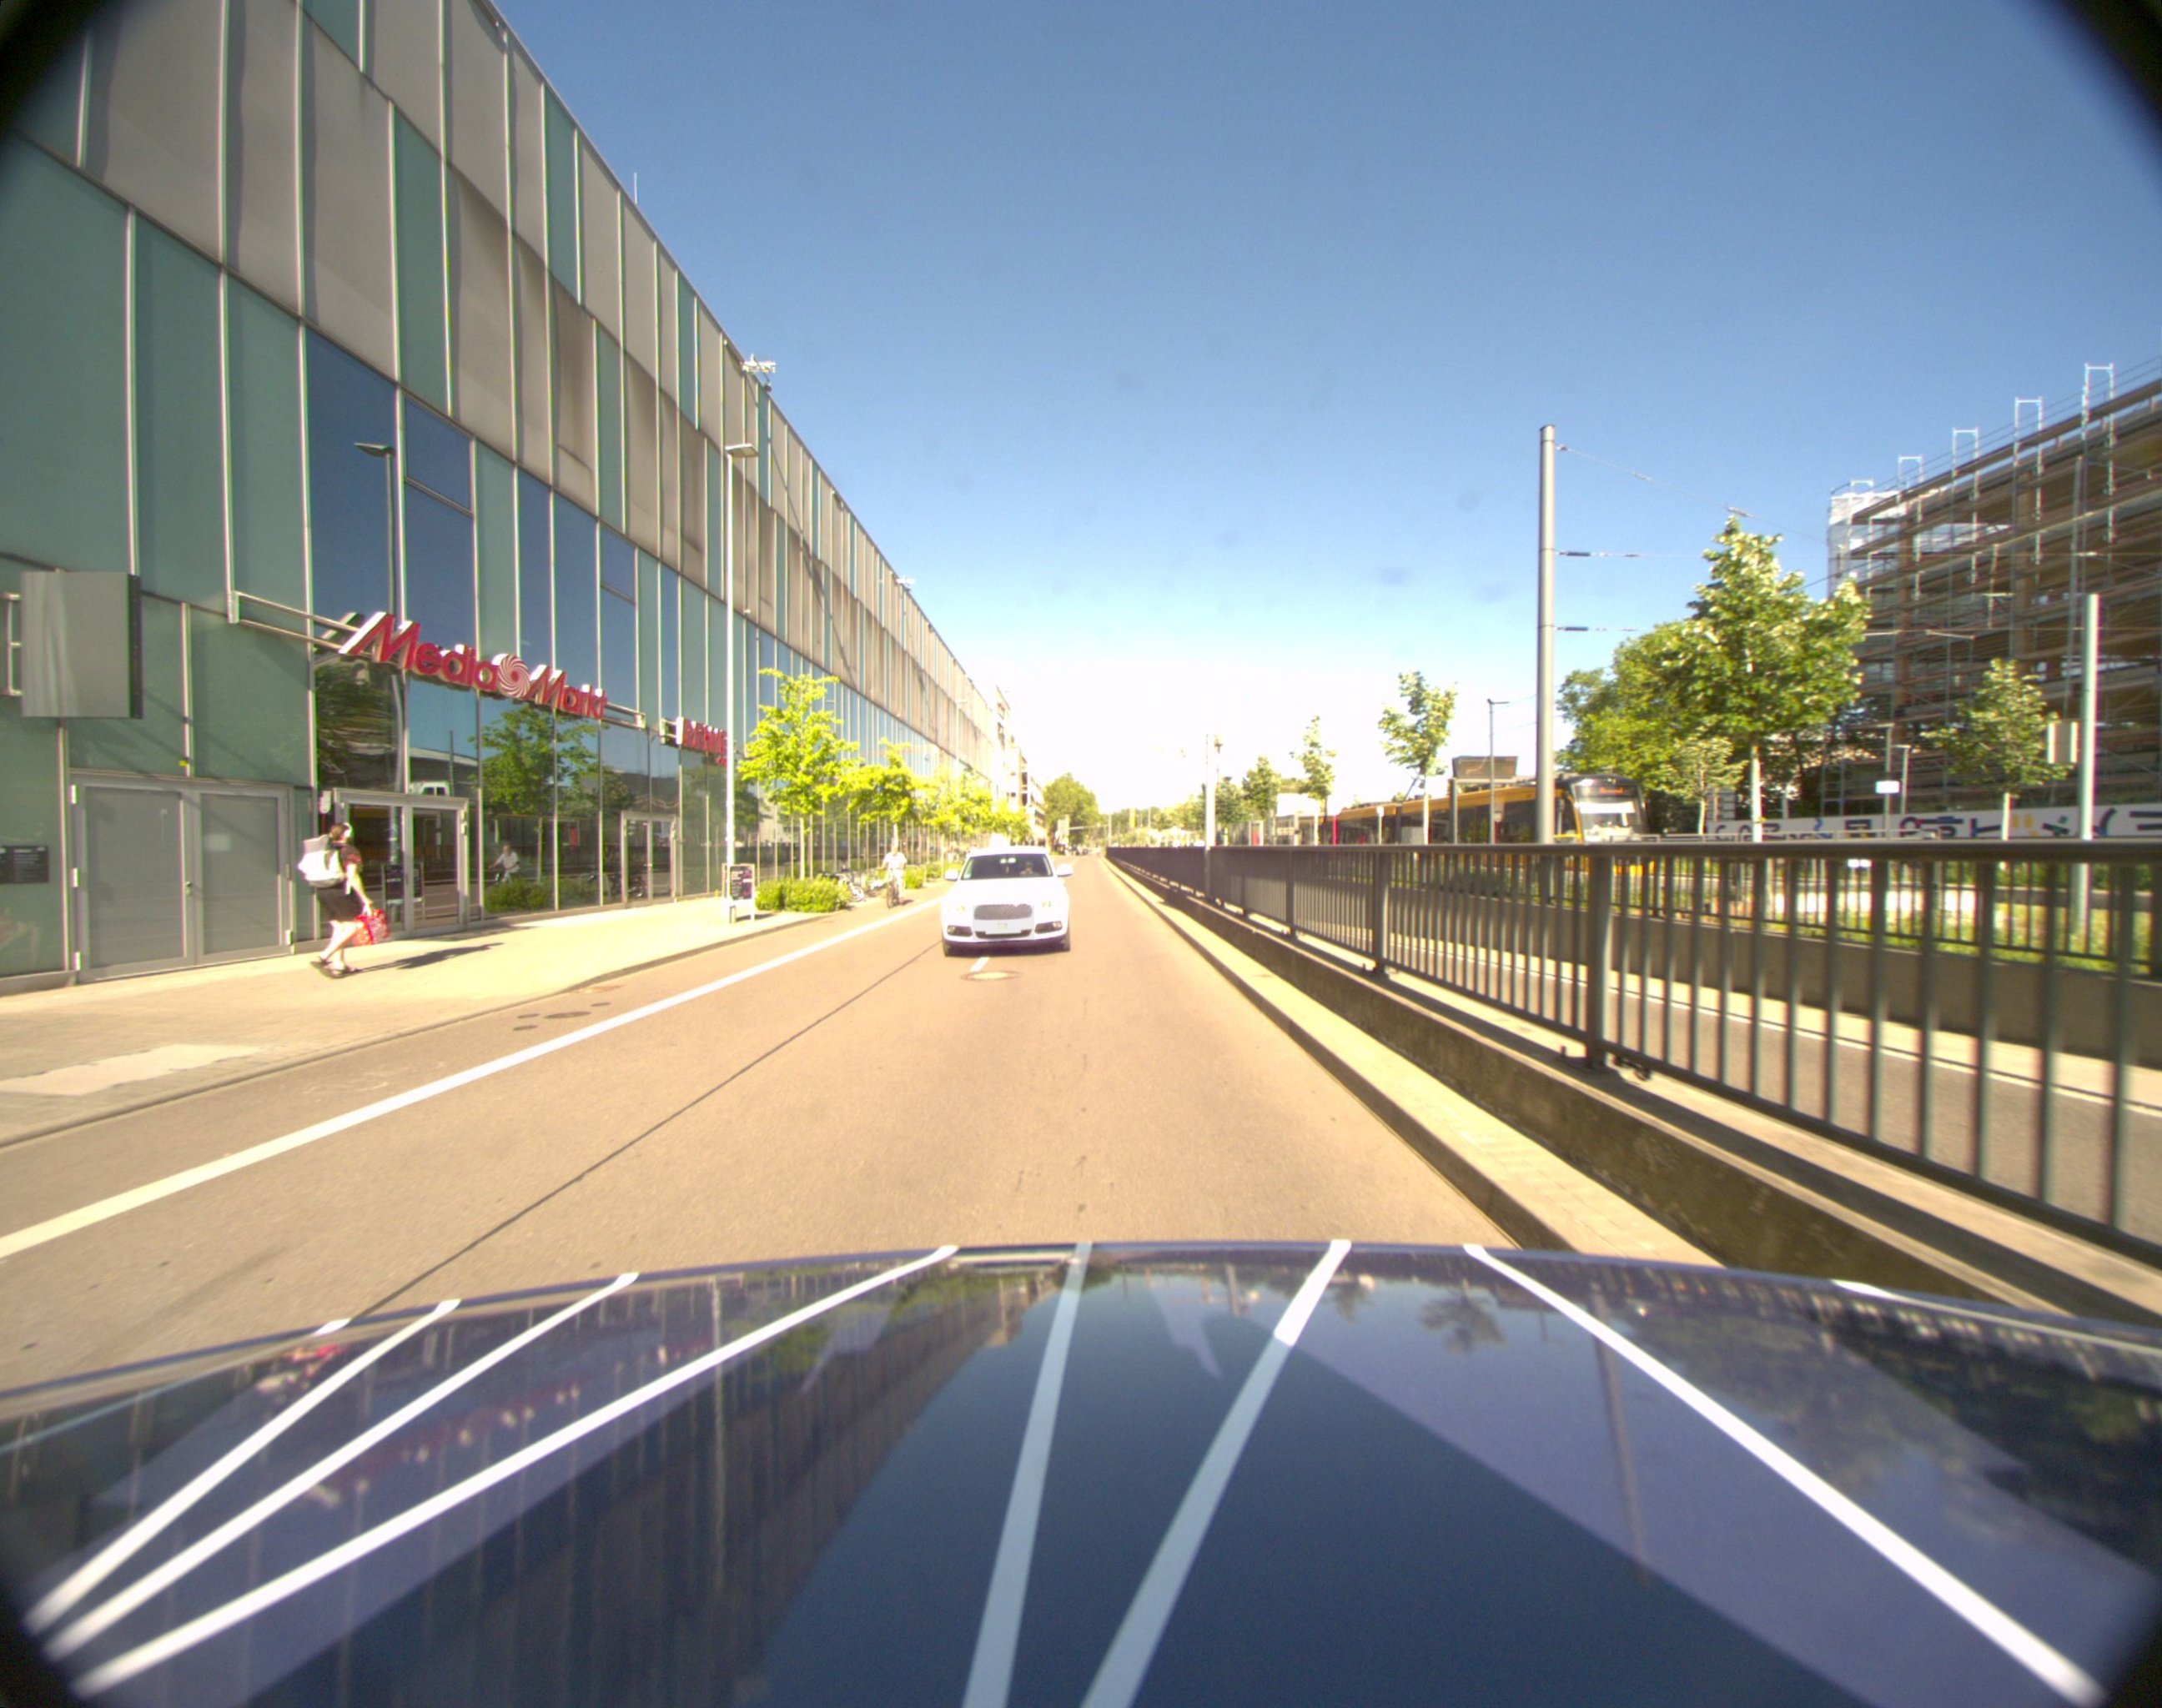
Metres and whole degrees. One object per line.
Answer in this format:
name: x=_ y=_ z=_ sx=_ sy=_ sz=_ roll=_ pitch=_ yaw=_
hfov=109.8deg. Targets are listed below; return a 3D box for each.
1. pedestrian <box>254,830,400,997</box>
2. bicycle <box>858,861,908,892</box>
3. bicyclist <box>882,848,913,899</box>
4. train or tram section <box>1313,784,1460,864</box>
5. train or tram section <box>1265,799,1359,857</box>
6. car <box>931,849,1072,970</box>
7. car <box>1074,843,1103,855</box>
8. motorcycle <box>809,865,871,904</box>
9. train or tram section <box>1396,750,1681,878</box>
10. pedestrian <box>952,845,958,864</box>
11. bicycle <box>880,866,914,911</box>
pedestrian: x=-9.237 y=0.686 z=9.352 sx=0.877 sy=1.914 sz=0.895 roll=3 pitch=3 yaw=0
bicycle: x=-7.304 y=0.830 z=28.094 sx=1.741 sy=1.056 sz=0.467 roll=2 pitch=1 yaw=-15
bicyclist: x=-5.336 y=0.563 z=22.072 sx=0.755 sy=1.454 sz=0.587 roll=-1 pitch=2 yaw=-4
train or tram section: x=15.758 y=-1.467 z=40.742 sx=2.822 sy=3.618 sz=12.786 roll=0 pitch=1 yaw=1
train or tram section: x=15.884 y=-1.728 z=53.559 sx=2.822 sy=3.618 sz=12.786 roll=0 pitch=1 yaw=1
car: x=-1.163 y=0.762 z=12.615 sx=1.934 sy=1.624 sz=3.999 roll=-1 pitch=1 yaw=-2
car: x=1.001 y=-0.682 z=104.928 sx=3.802 sy=1.527 sz=1.785 roll=-1 pitch=1 yaw=-3
motorcycle: x=-7.486 y=0.941 z=23.629 sx=1.876 sy=1.076 sz=0.645 roll=2 pitch=2 yaw=24
train or tram section: x=15.619 y=-1.237 z=27.956 sx=2.822 sy=3.618 sz=12.786 roll=0 pitch=1 yaw=1
pedestrian: x=-11.171 y=0.004 z=67.170 sx=0.450 sy=1.681 sz=0.345 roll=-1 pitch=1 yaw=0
bicycle: x=-5.334 y=0.973 z=22.101 sx=0.610 sy=1.144 sz=1.986 roll=-2 pitch=2 yaw=-4
